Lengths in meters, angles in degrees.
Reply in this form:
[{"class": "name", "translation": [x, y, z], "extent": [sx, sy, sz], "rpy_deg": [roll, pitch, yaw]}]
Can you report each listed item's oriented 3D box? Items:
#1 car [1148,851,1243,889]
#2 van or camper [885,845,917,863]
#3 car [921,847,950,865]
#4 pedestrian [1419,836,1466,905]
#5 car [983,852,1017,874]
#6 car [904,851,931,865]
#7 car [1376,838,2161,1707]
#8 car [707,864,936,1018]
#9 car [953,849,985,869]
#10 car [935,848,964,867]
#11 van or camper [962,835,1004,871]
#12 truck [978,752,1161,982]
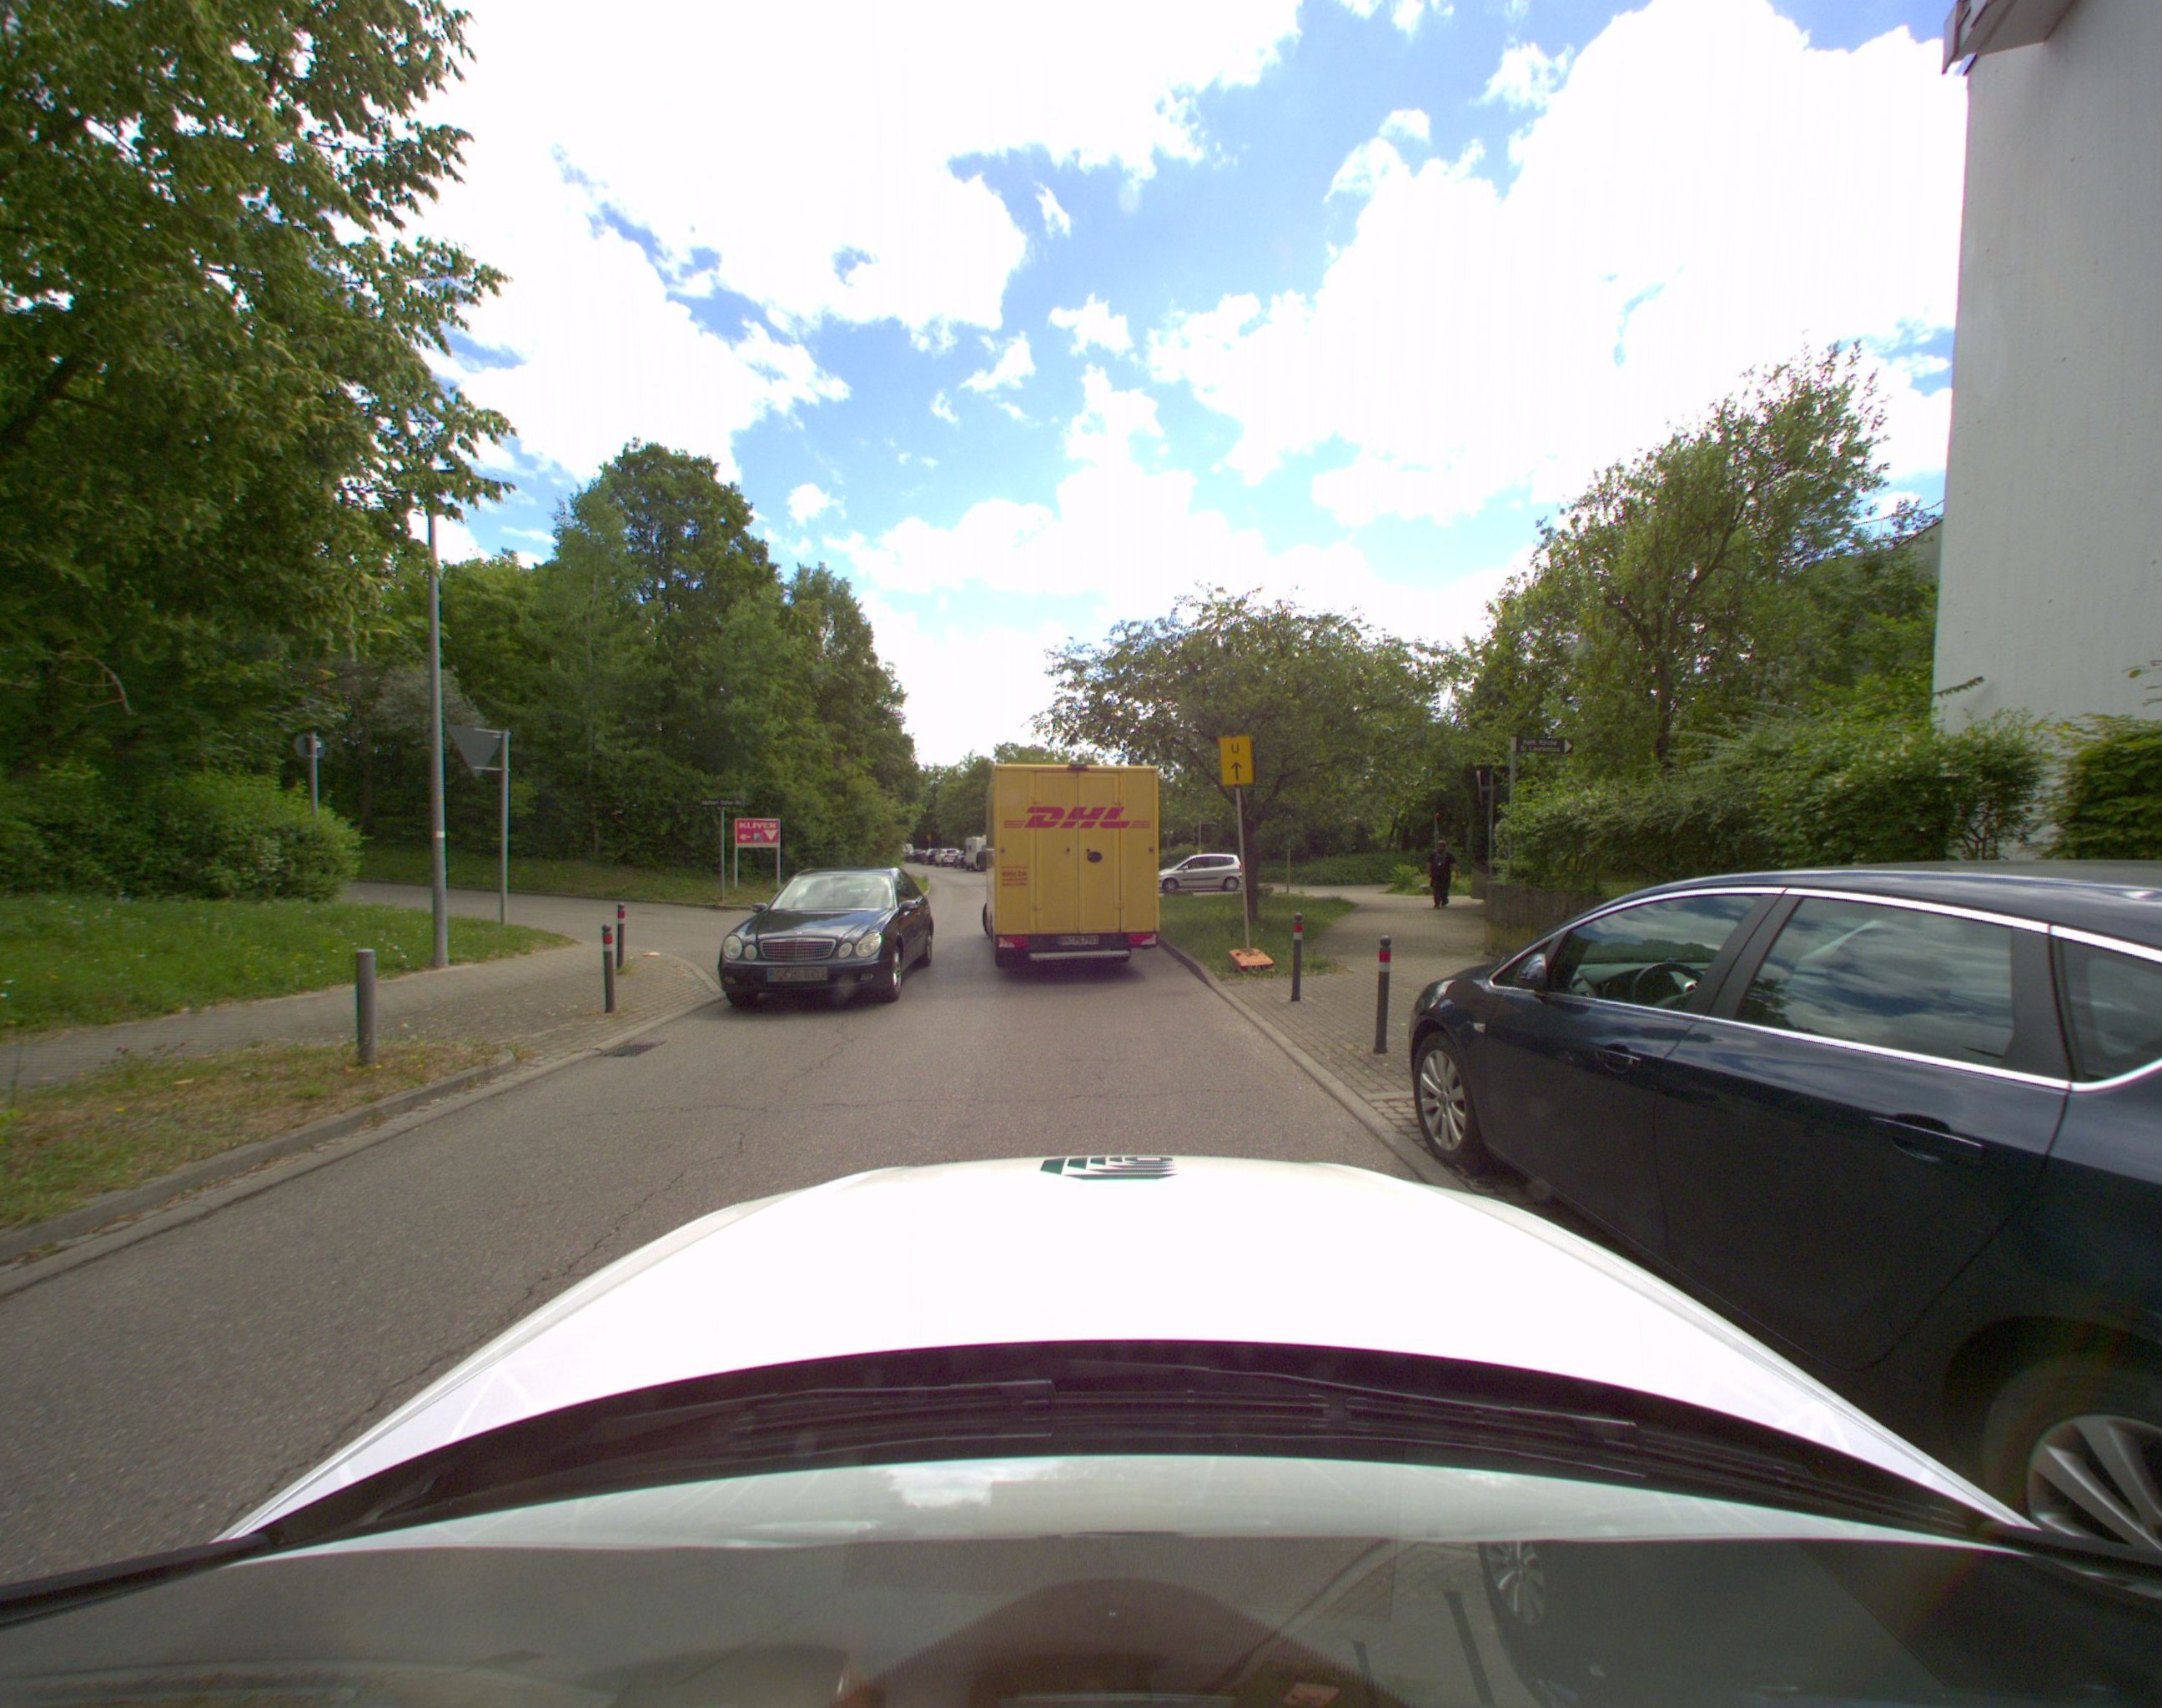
[{"class": "car", "translation": [4.632, 0.650, 33.368], "extent": [3.629, 1.456, 1.847], "rpy_deg": [-1, -1, 0]}, {"class": "van or camper", "translation": [-21.650, -0.065, 97.673], "extent": [2.008, 1.919, 5.212], "rpy_deg": [-3, 3, -33]}, {"class": "car", "translation": [-15.452, 0.213, 86.382], "extent": [2.004, 1.626, 4.243], "rpy_deg": [-4, 3, -25]}, {"class": "pedestrian", "translation": [9.318, 0.418, 21.006], "extent": [0.830, 1.737, 0.784], "rpy_deg": [-1, -1, -4]}, {"class": "car", "translation": [-6.126, 0.692, 61.547], "extent": [1.734, 1.519, 3.865], "rpy_deg": [-2, 0, -18]}, {"class": "car", "translation": [-18.536, 0.427, 92.392], "extent": [1.809, 1.464, 3.962], "rpy_deg": [-2, 1, -29]}, {"class": "car", "translation": [2.538, 0.677, 2.639], "extent": [1.685, 1.420, 3.999], "rpy_deg": [-1, 0, 0]}, {"class": "car", "translation": [-2.917, 0.869, 10.165], "extent": [1.749, 1.419, 4.360], "rpy_deg": [-1, 0, -5]}, {"class": "car", "translation": [-10.287, 0.414, 74.543], "extent": [1.719, 1.591, 3.969], "rpy_deg": [-9, 4, -23]}, {"class": "car", "translation": [-13.105, 0.321, 80.967], "extent": [1.879, 1.689, 4.545], "rpy_deg": [0, 1, -23]}, {"class": "van or camper", "translation": [-8.341, -0.131, 68.782], "extent": [2.339, 2.869, 6.112], "rpy_deg": [0, 0, -18]}, {"class": "truck", "translation": [-0.473, 0.149, 13.371], "extent": [2.223, 2.808, 6.557], "rpy_deg": [-1, 0, -6]}]
